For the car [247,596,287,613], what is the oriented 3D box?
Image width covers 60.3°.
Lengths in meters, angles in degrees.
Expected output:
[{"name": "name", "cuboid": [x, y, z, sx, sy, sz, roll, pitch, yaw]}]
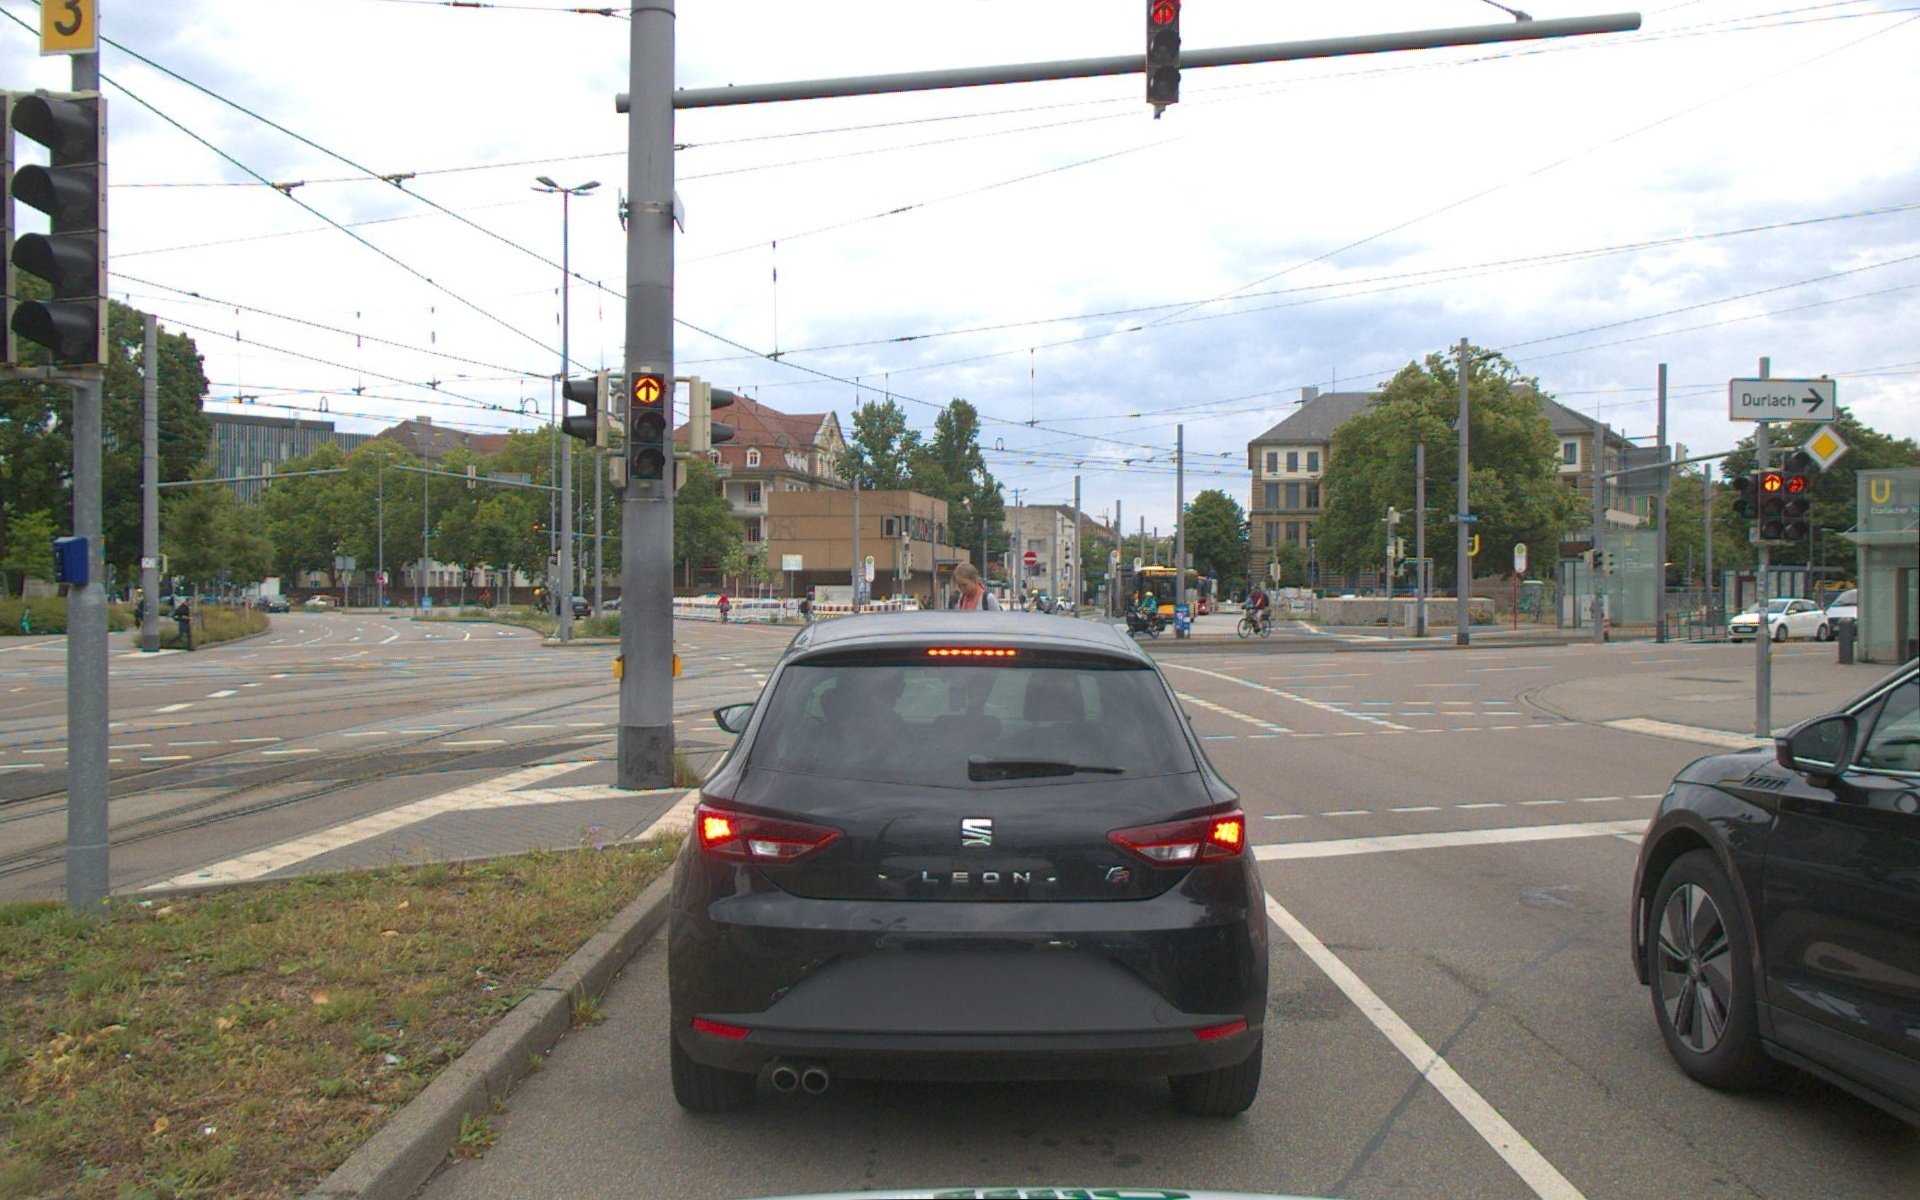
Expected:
[{"name": "car", "cuboid": [-59.623, 0.368, 142.307, 3.930, 1.489, 1.770, 0, 0, 43]}]

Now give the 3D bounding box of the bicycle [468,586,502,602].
[{"name": "bicycle", "cuboid": [-37.403, -0.486, 130.221, 0.921, 1.199, 2.726, 0, 0, 28]}]

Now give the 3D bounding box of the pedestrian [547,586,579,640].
[{"name": "pedestrian", "cuboid": [-14.567, 0.460, 60.655, 1.015, 1.968, 0.695, 0, 0, -26]}]

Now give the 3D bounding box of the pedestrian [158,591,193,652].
[{"name": "pedestrian", "cuboid": [-26.793, 0.732, 56.478, 1.006, 2.049, 0.841, 0, 0, -20]}]

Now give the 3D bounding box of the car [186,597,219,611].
[{"name": "car", "cuboid": [-80.694, 0.409, 176.161, 3.926, 1.489, 1.772, 1, 1, 41]}]

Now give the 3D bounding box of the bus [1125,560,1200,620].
[{"name": "bus", "cuboid": [11.559, -0.531, 93.636, 2.897, 3.178, 11.548, 0, 0, 14]}]

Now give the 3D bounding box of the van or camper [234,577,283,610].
[{"name": "van or camper", "cuboid": [-69.244, -0.639, 163.194, 5.403, 3.179, 2.382, 0, 0, 41]}]

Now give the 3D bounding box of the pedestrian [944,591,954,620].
[{"name": "pedestrian", "cuboid": [-0.734, 0.354, 111.597, 0.608, 1.951, 0.711, 0, 0, 2]}]

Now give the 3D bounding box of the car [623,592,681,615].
[{"name": "car", "cuboid": [-22.858, 0.266, 122.679, 3.905, 1.713, 2.000, 0, -1, 0]}]

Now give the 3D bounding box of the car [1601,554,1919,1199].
[{"name": "car", "cuboid": [3.266, 0.704, 3.773, 1.741, 1.625, 4.508, 0, 0, -2]}]

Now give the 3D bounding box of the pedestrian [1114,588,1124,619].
[{"name": "pedestrian", "cuboid": [10.183, 0.206, 105.701, 0.608, 1.951, 0.711, 0, 0, 2]}]

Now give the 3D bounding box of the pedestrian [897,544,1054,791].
[{"name": "pedestrian", "cuboid": [0.131, 0.534, 13.610, 1.096, 1.940, 0.724, 1, -1, -44]}]

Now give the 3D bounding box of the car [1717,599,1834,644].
[{"name": "car", "cuboid": [27.512, 0.727, 55.786, 3.948, 1.490, 1.756, 0, -1, -32]}]

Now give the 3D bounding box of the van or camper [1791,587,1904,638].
[{"name": "van or camper", "cuboid": [32.117, 0.465, 59.844, 4.257, 1.773, 1.974, 0, -1, -36]}]

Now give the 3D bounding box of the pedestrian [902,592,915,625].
[{"name": "pedestrian", "cuboid": [-2.988, 0.484, 96.522, 0.693, 1.951, 0.624, 0, 0, 7]}]

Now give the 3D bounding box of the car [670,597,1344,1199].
[{"name": "car", "cuboid": [-0.020, 0.735, 5.981, 1.671, 1.474, 3.808, 0, 0, -5]}]

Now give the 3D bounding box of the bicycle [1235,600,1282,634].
[{"name": "bicycle", "cuboid": [10.993, 0.618, 60.911, 0.764, 1.205, 2.019, 0, 0, 43]}]

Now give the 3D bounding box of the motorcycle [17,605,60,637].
[{"name": "motorcycle", "cuboid": [-37.894, 0.874, 68.006, 0.503, 1.290, 1.463, 0, 0, 43]}]

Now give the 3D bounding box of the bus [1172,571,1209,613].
[{"name": "bus", "cuboid": [19.162, -0.668, 136.964, 2.597, 3.340, 11.004, 0, 0, 10]}]

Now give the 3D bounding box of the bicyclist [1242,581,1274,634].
[{"name": "bicyclist", "cuboid": [10.983, 0.267, 60.926, 0.764, 1.931, 0.990, 0, 0, 43]}]

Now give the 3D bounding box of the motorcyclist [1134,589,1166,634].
[{"name": "motorcyclist", "cuboid": [7.151, 0.413, 62.237, 0.968, 1.678, 0.741, 0, -1, -34]}]

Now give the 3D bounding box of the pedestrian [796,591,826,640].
[{"name": "pedestrian", "cuboid": [-5.940, 0.615, 66.060, 0.687, 1.968, 1.026, 0, 0, 38]}]

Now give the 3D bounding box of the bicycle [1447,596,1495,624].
[{"name": "bicycle", "cuboid": [25.527, 0.488, 82.640, 2.214, 1.354, 0.707, -1, -1, 6]}]

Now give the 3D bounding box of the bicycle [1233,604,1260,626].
[{"name": "bicycle", "cuboid": [15.158, 0.792, 87.574, 0.849, 1.124, 2.299, 0, 0, -5]}]

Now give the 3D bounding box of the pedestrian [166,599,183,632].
[{"name": "pedestrian", "cuboid": [-48.859, 0.962, 102.903, 0.865, 2.016, 0.791, 0, -1, -19]}]

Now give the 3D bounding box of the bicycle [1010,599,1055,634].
[{"name": "bicycle", "cuboid": [2.817, 0.622, 64.279, 1.697, 1.345, 0.644, 0, 0, -7]}]

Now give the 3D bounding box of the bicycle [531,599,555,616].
[{"name": "bicycle", "cuboid": [-31.181, 0.584, 123.599, 0.427, 1.258, 1.817, -2, -2, 42]}]

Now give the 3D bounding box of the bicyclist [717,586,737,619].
[{"name": "bicyclist", "cuboid": [-12.352, 0.138, 87.633, 0.870, 1.762, 0.888, 0, 0, -22]}]

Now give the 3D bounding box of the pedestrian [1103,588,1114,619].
[{"name": "pedestrian", "cuboid": [9.341, 0.195, 104.159, 0.608, 1.951, 0.699, 0, 0, 9]}]

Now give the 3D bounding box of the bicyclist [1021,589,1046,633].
[{"name": "bicyclist", "cuboid": [2.856, 0.410, 64.284, 0.838, 1.702, 0.653, 0, 0, -8]}]

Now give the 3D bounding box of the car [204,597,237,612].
[{"name": "car", "cuboid": [-75.353, 0.418, 168.560, 3.932, 1.489, 1.770, 1, 1, 44]}]

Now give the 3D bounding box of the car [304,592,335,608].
[{"name": "car", "cuboid": [-61.682, 0.016, 159.209, 1.764, 1.489, 3.945, 0, 1, -39]}]

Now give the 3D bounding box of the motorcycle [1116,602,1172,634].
[{"name": "motorcycle", "cuboid": [6.904, 0.659, 62.057, 2.115, 1.159, 0.735, 0, 0, -34]}]

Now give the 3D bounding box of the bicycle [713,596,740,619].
[{"name": "bicycle", "cuboid": [-12.397, 0.405, 87.768, 0.879, 1.199, 2.286, 0, 0, -22]}]

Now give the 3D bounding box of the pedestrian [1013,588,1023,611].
[{"name": "pedestrian", "cuboid": [4.984, -0.068, 141.144, 0.609, 1.952, 0.710, -1, -1, 25]}]

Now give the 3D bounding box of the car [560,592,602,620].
[{"name": "car", "cuboid": [-23.945, 0.374, 104.392, 1.966, 1.713, 3.973, 0, -1, -22]}]

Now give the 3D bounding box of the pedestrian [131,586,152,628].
[{"name": "pedestrian", "cuboid": [-39.631, 0.339, 80.058, 0.787, 2.016, 0.870, 1, -2, -35]}]

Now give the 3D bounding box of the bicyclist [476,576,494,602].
[{"name": "bicyclist", "cuboid": [-37.418, -0.882, 130.212, 0.919, 2.049, 0.977, 0, 0, 28]}]

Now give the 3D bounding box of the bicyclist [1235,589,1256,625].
[{"name": "bicyclist", "cuboid": [15.140, 0.370, 87.634, 0.854, 1.884, 1.046, 0, 0, -6]}]

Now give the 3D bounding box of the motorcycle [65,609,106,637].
[{"name": "motorcycle", "cuboid": [-36.975, 0.976, 69.948, 0.499, 1.130, 1.746, 0, 0, 12]}]

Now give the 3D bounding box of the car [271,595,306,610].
[{"name": "car", "cuboid": [-67.847, 0.236, 166.983, 3.929, 1.489, 1.771, 1, 1, 42]}]

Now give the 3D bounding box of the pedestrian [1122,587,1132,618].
[{"name": "pedestrian", "cuboid": [10.577, 0.186, 104.642, 0.608, 1.951, 0.699, 0, 0, 9]}]
